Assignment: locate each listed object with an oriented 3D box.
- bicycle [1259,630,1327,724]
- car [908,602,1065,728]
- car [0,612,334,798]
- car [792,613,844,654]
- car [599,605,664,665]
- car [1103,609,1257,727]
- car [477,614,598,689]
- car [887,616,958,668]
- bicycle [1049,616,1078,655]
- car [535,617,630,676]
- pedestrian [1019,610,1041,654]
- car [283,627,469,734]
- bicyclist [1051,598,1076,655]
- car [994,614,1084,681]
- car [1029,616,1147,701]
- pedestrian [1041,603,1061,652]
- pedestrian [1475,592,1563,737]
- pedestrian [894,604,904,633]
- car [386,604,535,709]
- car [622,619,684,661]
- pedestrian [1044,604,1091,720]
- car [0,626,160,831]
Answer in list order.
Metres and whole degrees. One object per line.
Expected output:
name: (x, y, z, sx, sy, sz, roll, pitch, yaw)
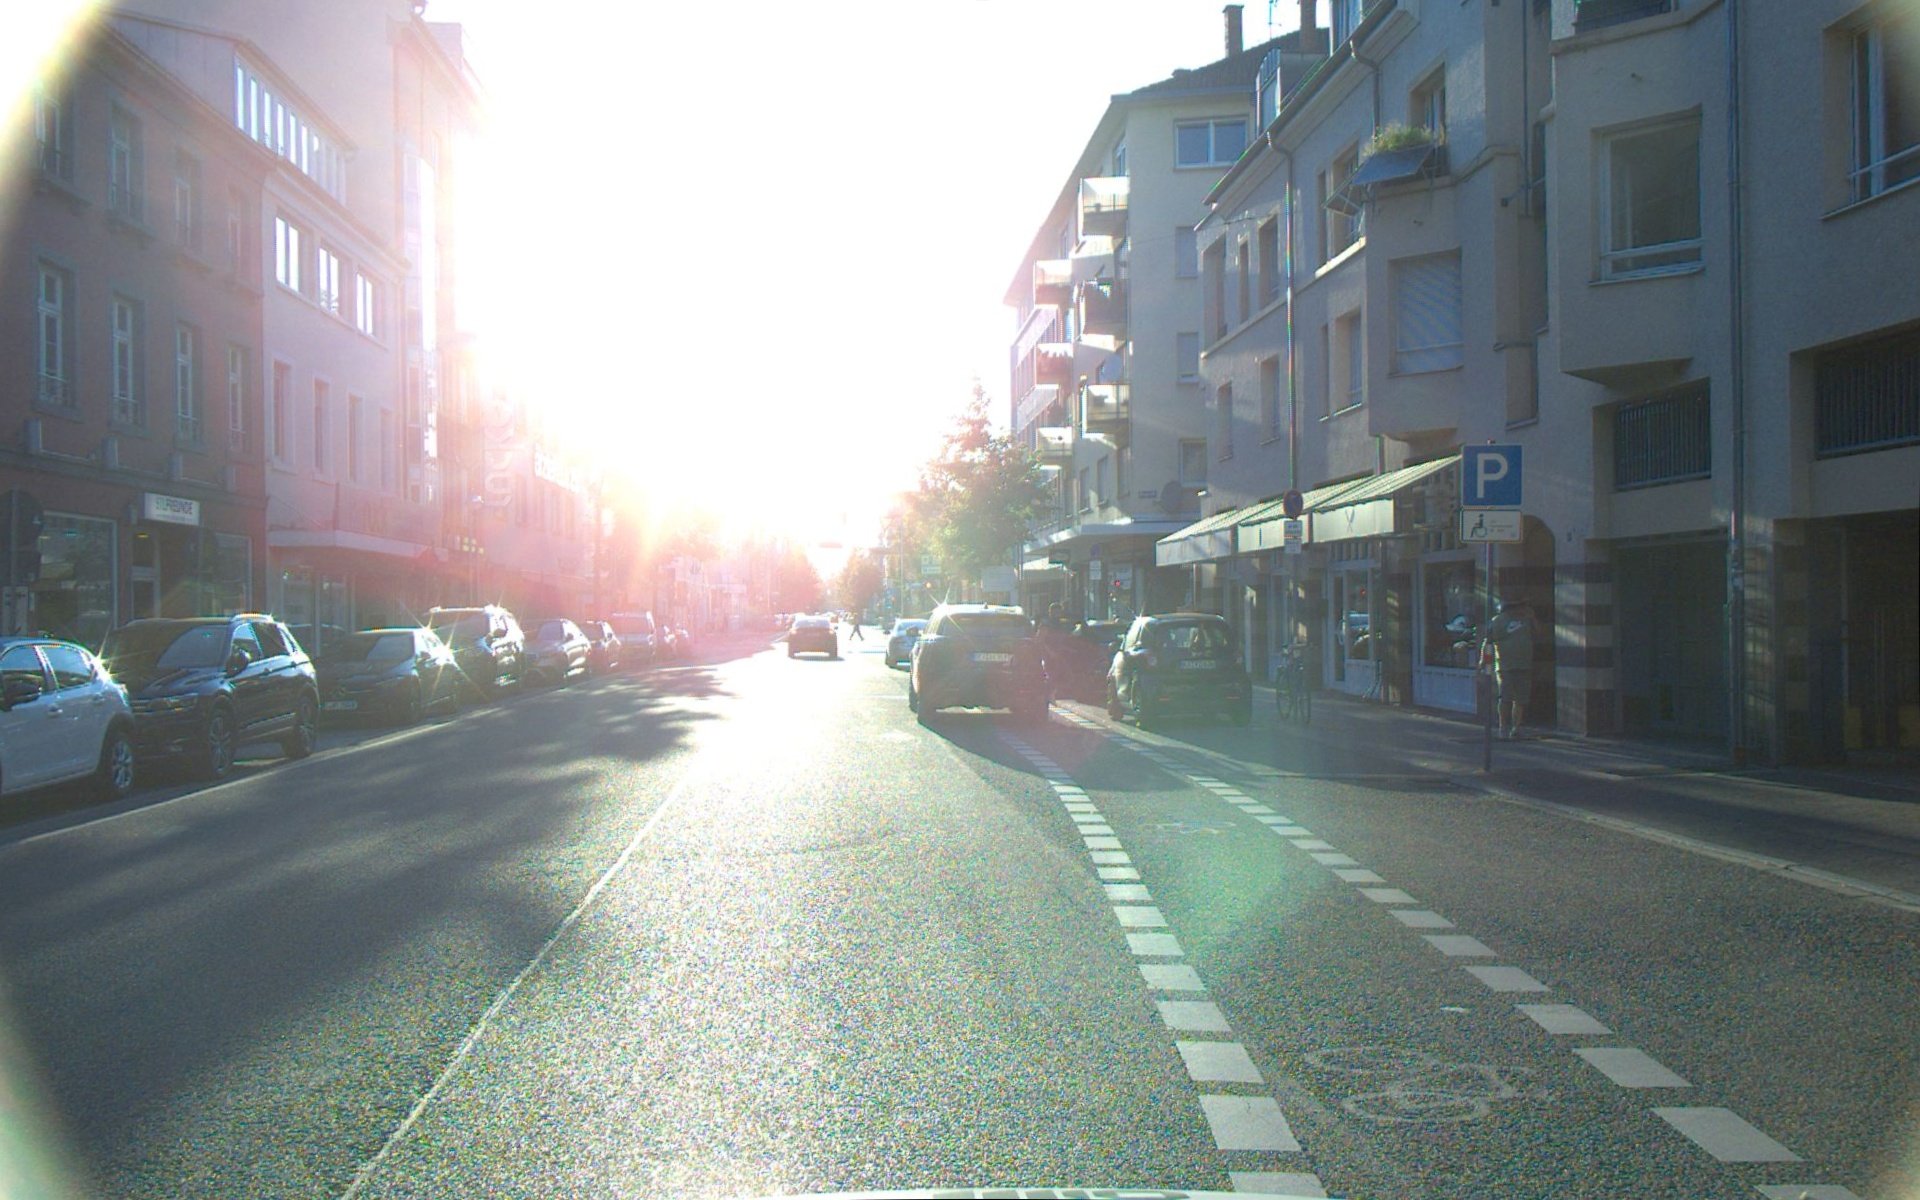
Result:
bicycle: (4.713, 1.067, 23.514, 0.389, 1.256, 1.823, -1, 0, -6)
car: (0.294, 0.903, 24.963, 1.955, 1.684, 4.670, 1, -1, -4)
car: (-8.346, 1.011, 17.831, 1.739, 1.661, 4.235, -2, 0, -3)
car: (-5.261, 1.228, 61.795, 1.846, 1.440, 4.321, 0, -1, -4)
car: (-10.886, 1.142, 55.019, 1.798, 1.887, 4.117, 0, -1, -7)
car: (3.144, 0.943, 24.112, 1.601, 1.581, 2.690, -1, 0, -7)
car: (-10.037, 1.170, 39.647, 1.791, 1.583, 5.132, -2, 0, -3)
car: (-1.169, 1.227, 49.502, 1.884, 1.440, 4.544, 2, -1, -4)
bicycle: (3.191, 1.098, 51.247, 0.637, 1.175, 1.930, -1, -1, -4)
car: (-10.349, 1.243, 45.651, 1.791, 1.464, 4.549, -3, 0, -4)
pedestrian: (2.552, 1.170, 60.424, 0.674, 1.586, 0.862, -1, -1, -4)
car: (-9.248, 1.221, 26.553, 1.679, 1.465, 4.306, -2, 0, -4)
bicyclist: (3.203, 0.826, 51.190, 0.637, 1.732, 1.094, -1, -1, -4)
car: (1.787, 1.064, 38.534, 1.669, 1.461, 3.928, 0, -1, -4)
car: (2.331, 1.047, 30.936, 1.601, 1.449, 3.754, -1, 0, -5)
pedestrian: (3.313, 0.999, 60.287, 0.674, 1.752, 0.717, -1, -1, 2)
pedestrian: (6.649, 0.760, 19.696, 0.793, 1.675, 0.606, -2, -1, 2)
pedestrian: (-3.777, 1.153, 102.652, 0.488, 1.745, 0.459, 0, 0, -24)
car: (-9.807, 1.046, 32.894, 1.792, 1.842, 5.341, -2, 0, -6)
car: (-11.295, 1.455, 61.024, 1.797, 1.351, 4.119, -2, 0, -5)
pedestrian: (1.604, 0.911, 24.602, 0.437, 1.694, 0.560, -1, -1, -29)
car: (-8.311, 1.036, 13.557, 1.739, 1.541, 3.947, -2, 0, -3)
